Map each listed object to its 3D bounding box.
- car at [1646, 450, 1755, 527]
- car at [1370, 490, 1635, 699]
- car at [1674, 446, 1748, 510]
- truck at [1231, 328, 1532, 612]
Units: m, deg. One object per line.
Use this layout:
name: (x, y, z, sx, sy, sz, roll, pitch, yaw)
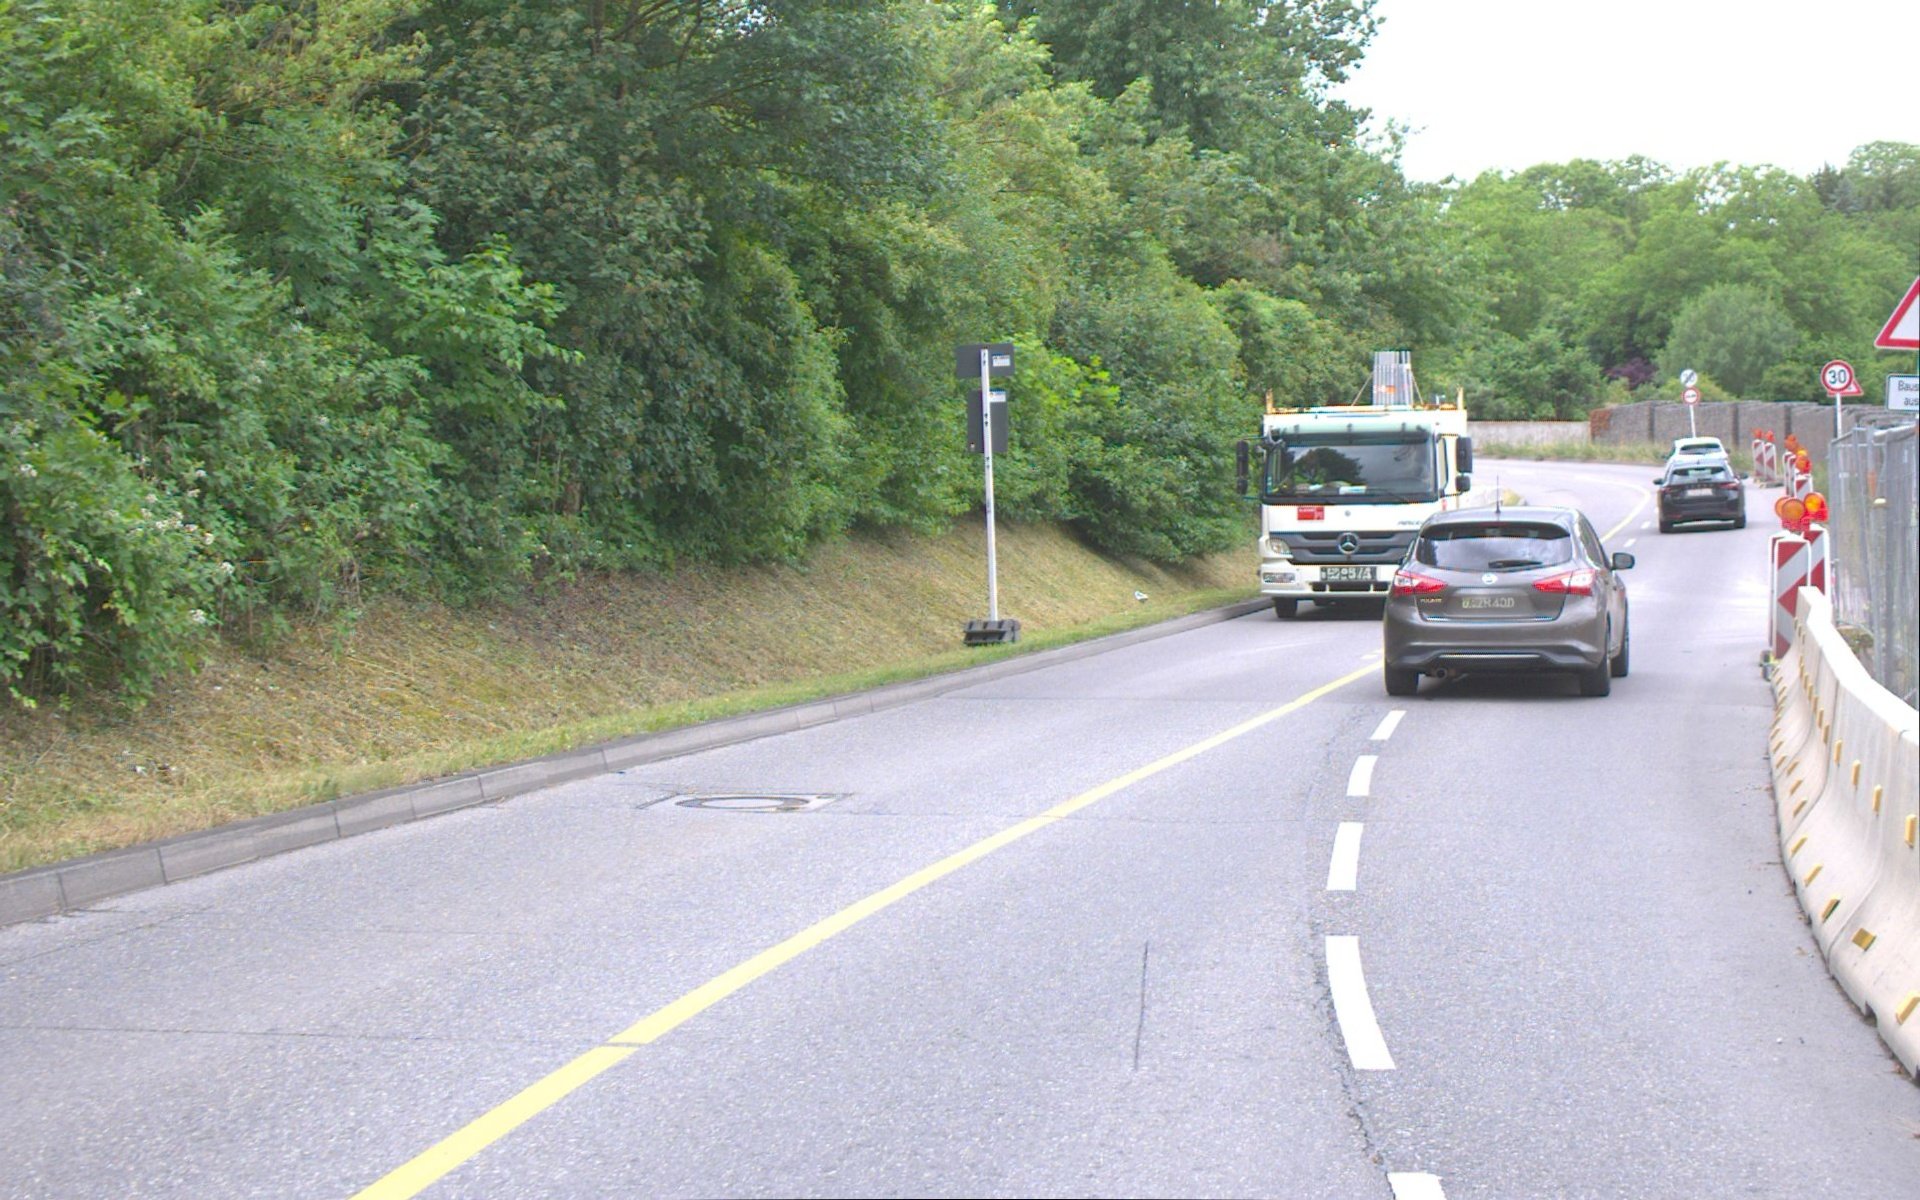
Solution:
car: (15.564, -2.356, 72.124, 1.821, 1.546, 3.785, 1, 3, 19)
car: (4.575, -0.110, 28.592, 1.799, 1.546, 3.998, 1, 3, 14)
car: (21.009, -3.396, 96.273, 1.712, 1.669, 3.999, -2, 1, 9)
truck: (5.730, -1.750, 45.405, 2.822, 3.324, 8.376, -1, 2, 14)
